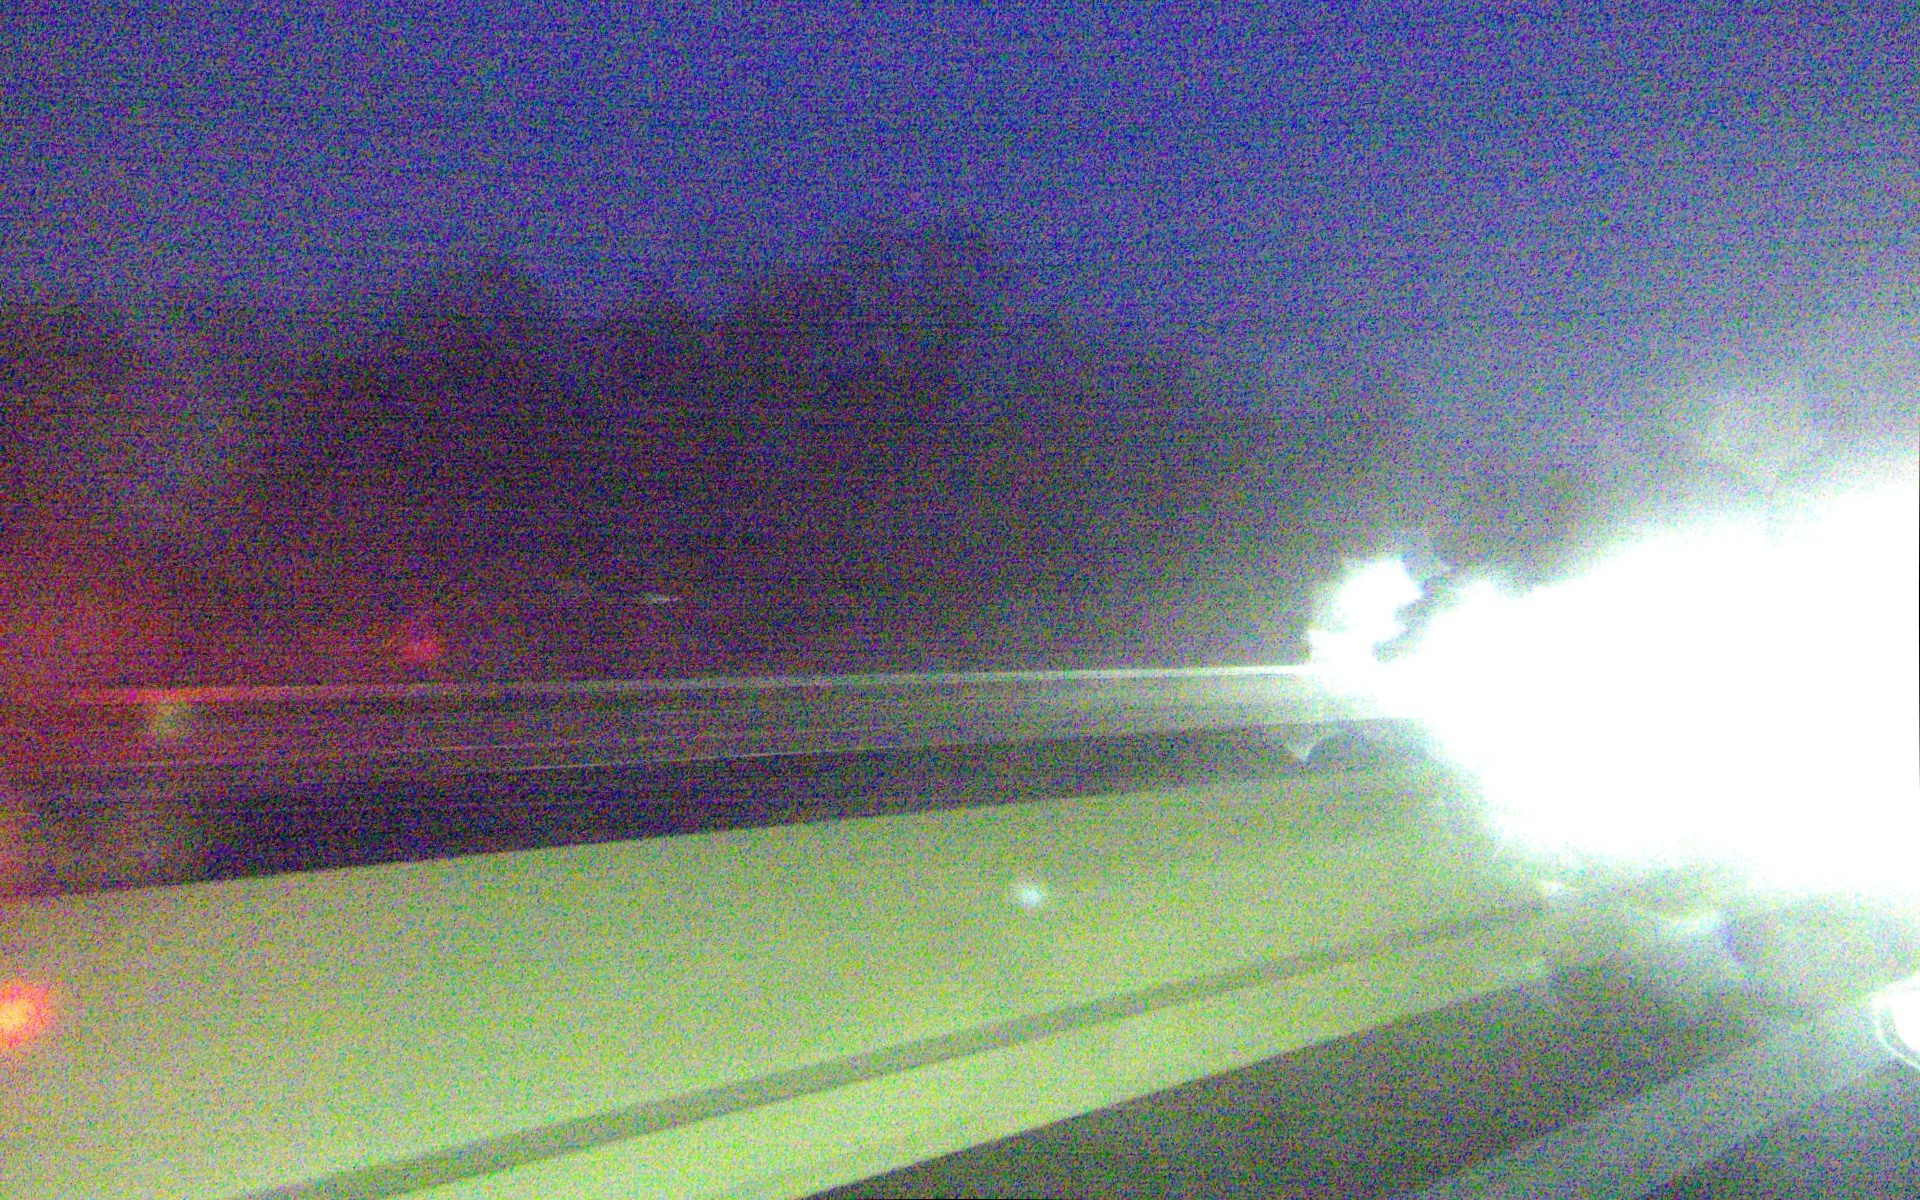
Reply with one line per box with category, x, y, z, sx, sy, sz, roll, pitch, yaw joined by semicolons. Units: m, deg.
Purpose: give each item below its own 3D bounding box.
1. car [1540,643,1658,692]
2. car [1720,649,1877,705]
car;27.114;2.800;42.576;5.323;1.973;1.984;1;-2;-30
car;23.853;2.126;28.549;4.536;1.434;1.984;1;-3;-30
